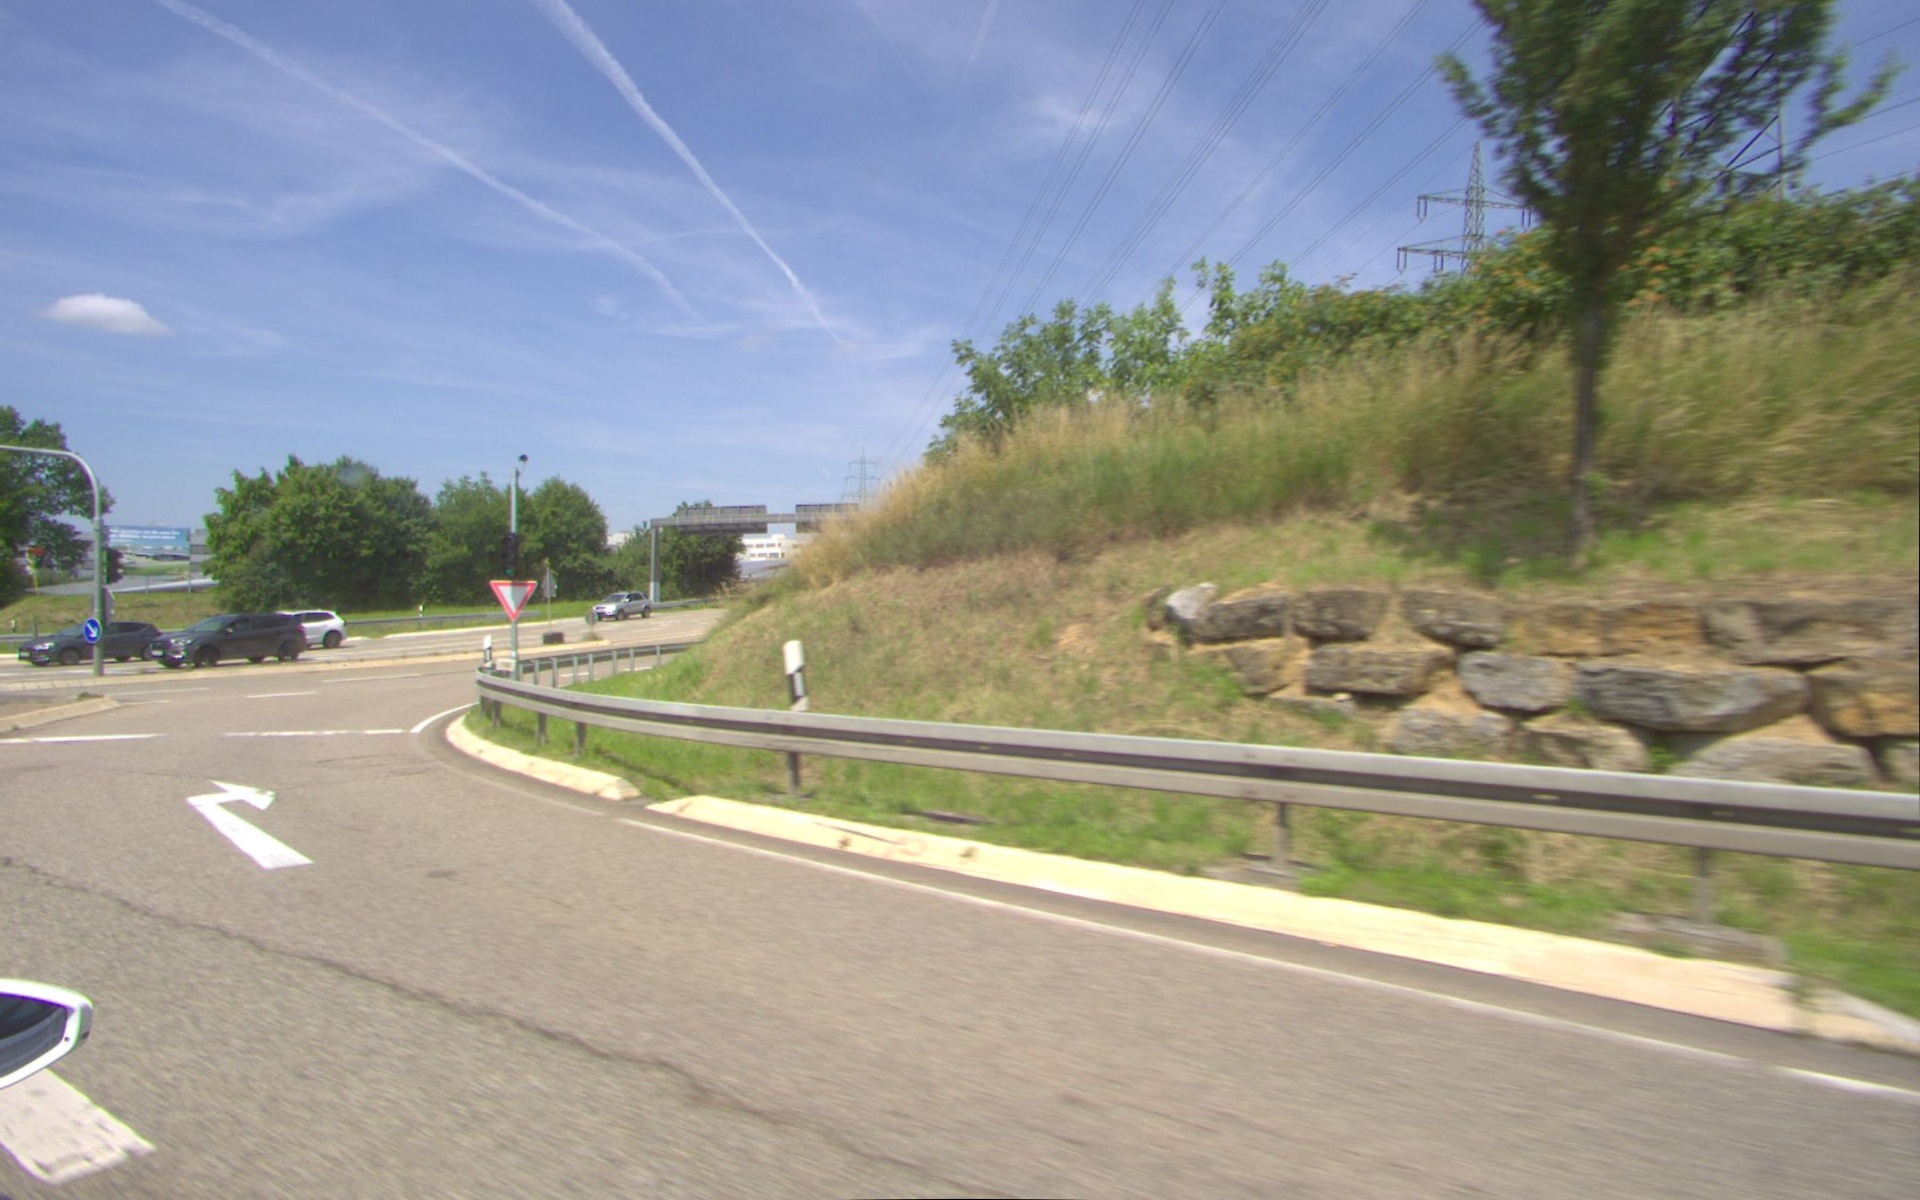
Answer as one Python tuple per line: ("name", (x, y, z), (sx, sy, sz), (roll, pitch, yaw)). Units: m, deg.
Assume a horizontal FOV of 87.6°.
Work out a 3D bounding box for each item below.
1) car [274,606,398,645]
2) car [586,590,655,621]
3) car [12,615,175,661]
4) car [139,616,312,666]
("car", (-27.168, 1.107, 43.758), (1.750, 1.613, 4.360), (-1, -1, 23))
("car", (-21.180, 0.322, 62.622), (1.803, 1.678, 4.362), (0, 3, 17))
("car", (-30.142, 1.292, 34.981), (1.687, 1.530, 3.989), (-1, -1, 23))
("car", (-24.071, 1.295, 33.004), (1.688, 1.530, 4.360), (-1, -1, 23))
